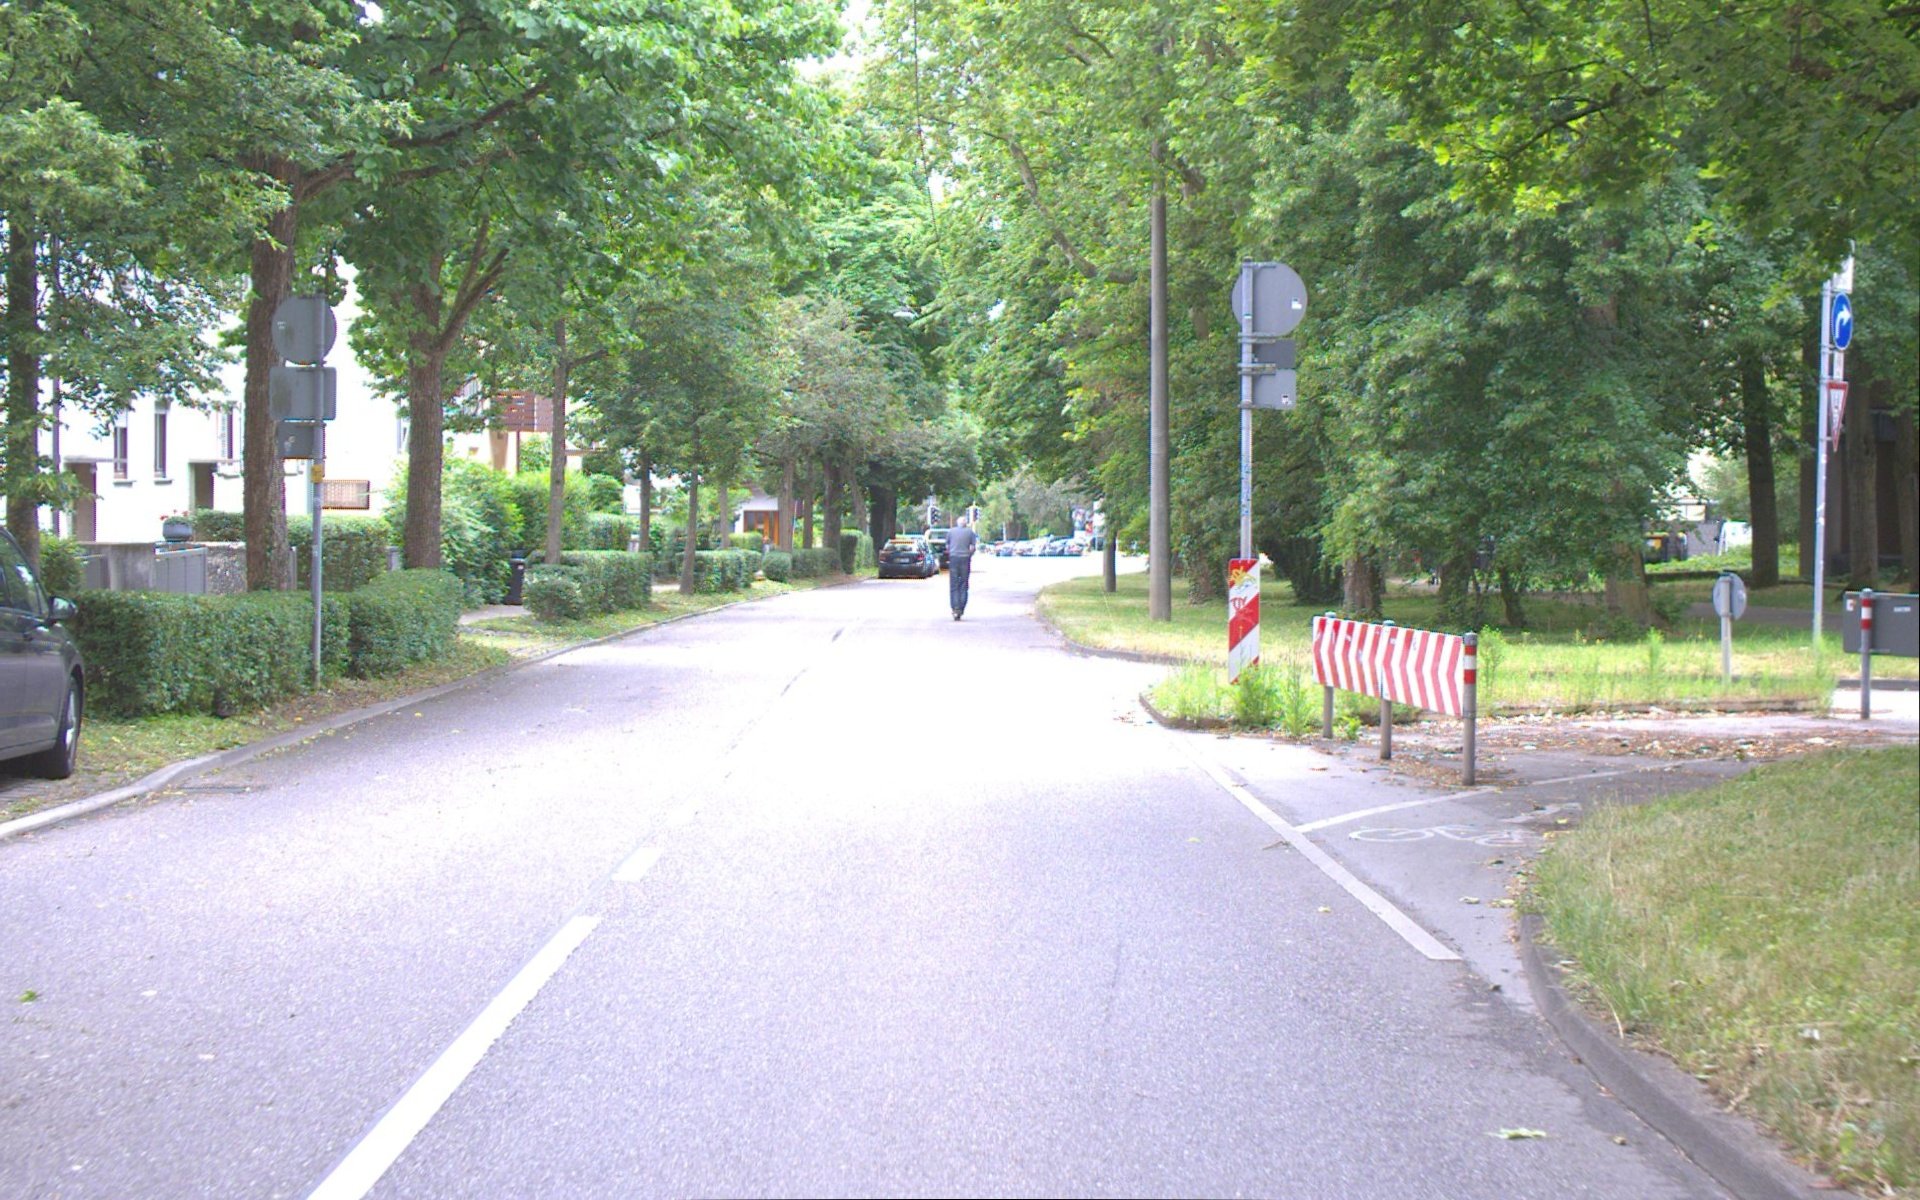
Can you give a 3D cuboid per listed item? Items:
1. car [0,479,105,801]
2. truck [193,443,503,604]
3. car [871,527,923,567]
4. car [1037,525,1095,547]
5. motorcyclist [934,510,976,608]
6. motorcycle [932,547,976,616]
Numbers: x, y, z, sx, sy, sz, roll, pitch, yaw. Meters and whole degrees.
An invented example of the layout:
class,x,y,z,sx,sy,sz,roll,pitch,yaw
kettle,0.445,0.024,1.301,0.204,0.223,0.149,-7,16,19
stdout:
class,x,y,z,sx,sy,sz,roll,pitch,yaw
car,-6.165,0.187,19.362,1.824,1.748,4.454,1,1,-4
truck,-12.352,-1.539,69.677,5.796,3.120,2.518,1,1,0
car,-2.313,-1.962,126.975,1.794,1.467,4.418,0,1,0
car,7.371,-4.421,238.858,3.987,1.505,1.800,0,1,0
motorcyclist,-0.086,-0.741,62.608,0.673,1.755,0.639,2,1,4
motorcycle,-0.111,-0.347,62.482,0.673,1.213,1.273,2,1,4
